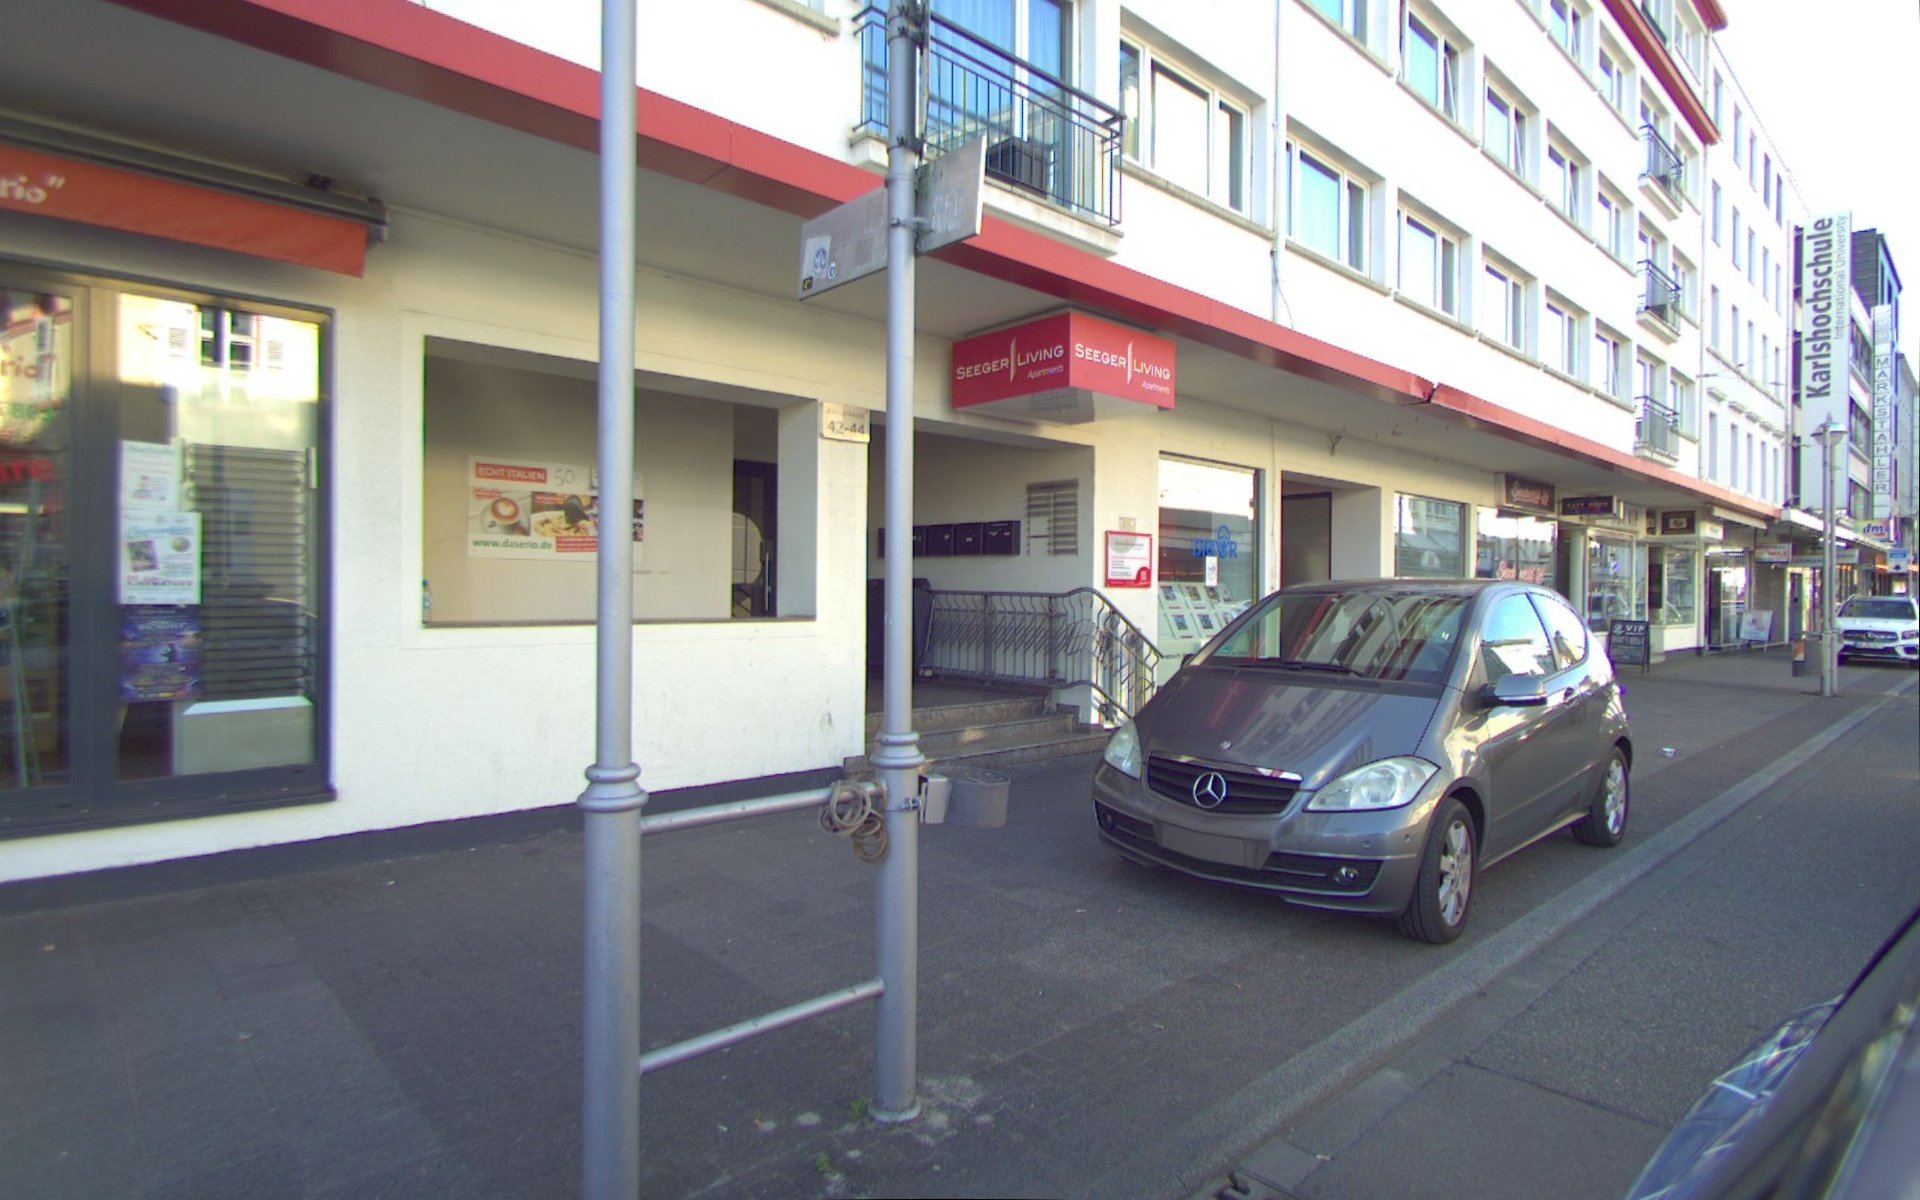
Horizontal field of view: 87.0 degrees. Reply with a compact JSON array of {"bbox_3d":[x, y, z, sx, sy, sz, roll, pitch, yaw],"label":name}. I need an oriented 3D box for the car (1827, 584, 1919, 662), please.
[{"bbox_3d":[22.186,0.469,24.104,4.092,1.684,1.781,-1,2,-42],"label":"car"}]

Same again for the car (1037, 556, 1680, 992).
[{"bbox_3d":[2.422,0.585,5.652,3.893,1.588,1.780,-1,2,-42],"label":"car"}]

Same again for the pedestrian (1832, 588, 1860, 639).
[{"bbox_3d":[32.026,0.481,36.581,0.794,1.840,0.704,0,0,-44],"label":"pedestrian"}]
